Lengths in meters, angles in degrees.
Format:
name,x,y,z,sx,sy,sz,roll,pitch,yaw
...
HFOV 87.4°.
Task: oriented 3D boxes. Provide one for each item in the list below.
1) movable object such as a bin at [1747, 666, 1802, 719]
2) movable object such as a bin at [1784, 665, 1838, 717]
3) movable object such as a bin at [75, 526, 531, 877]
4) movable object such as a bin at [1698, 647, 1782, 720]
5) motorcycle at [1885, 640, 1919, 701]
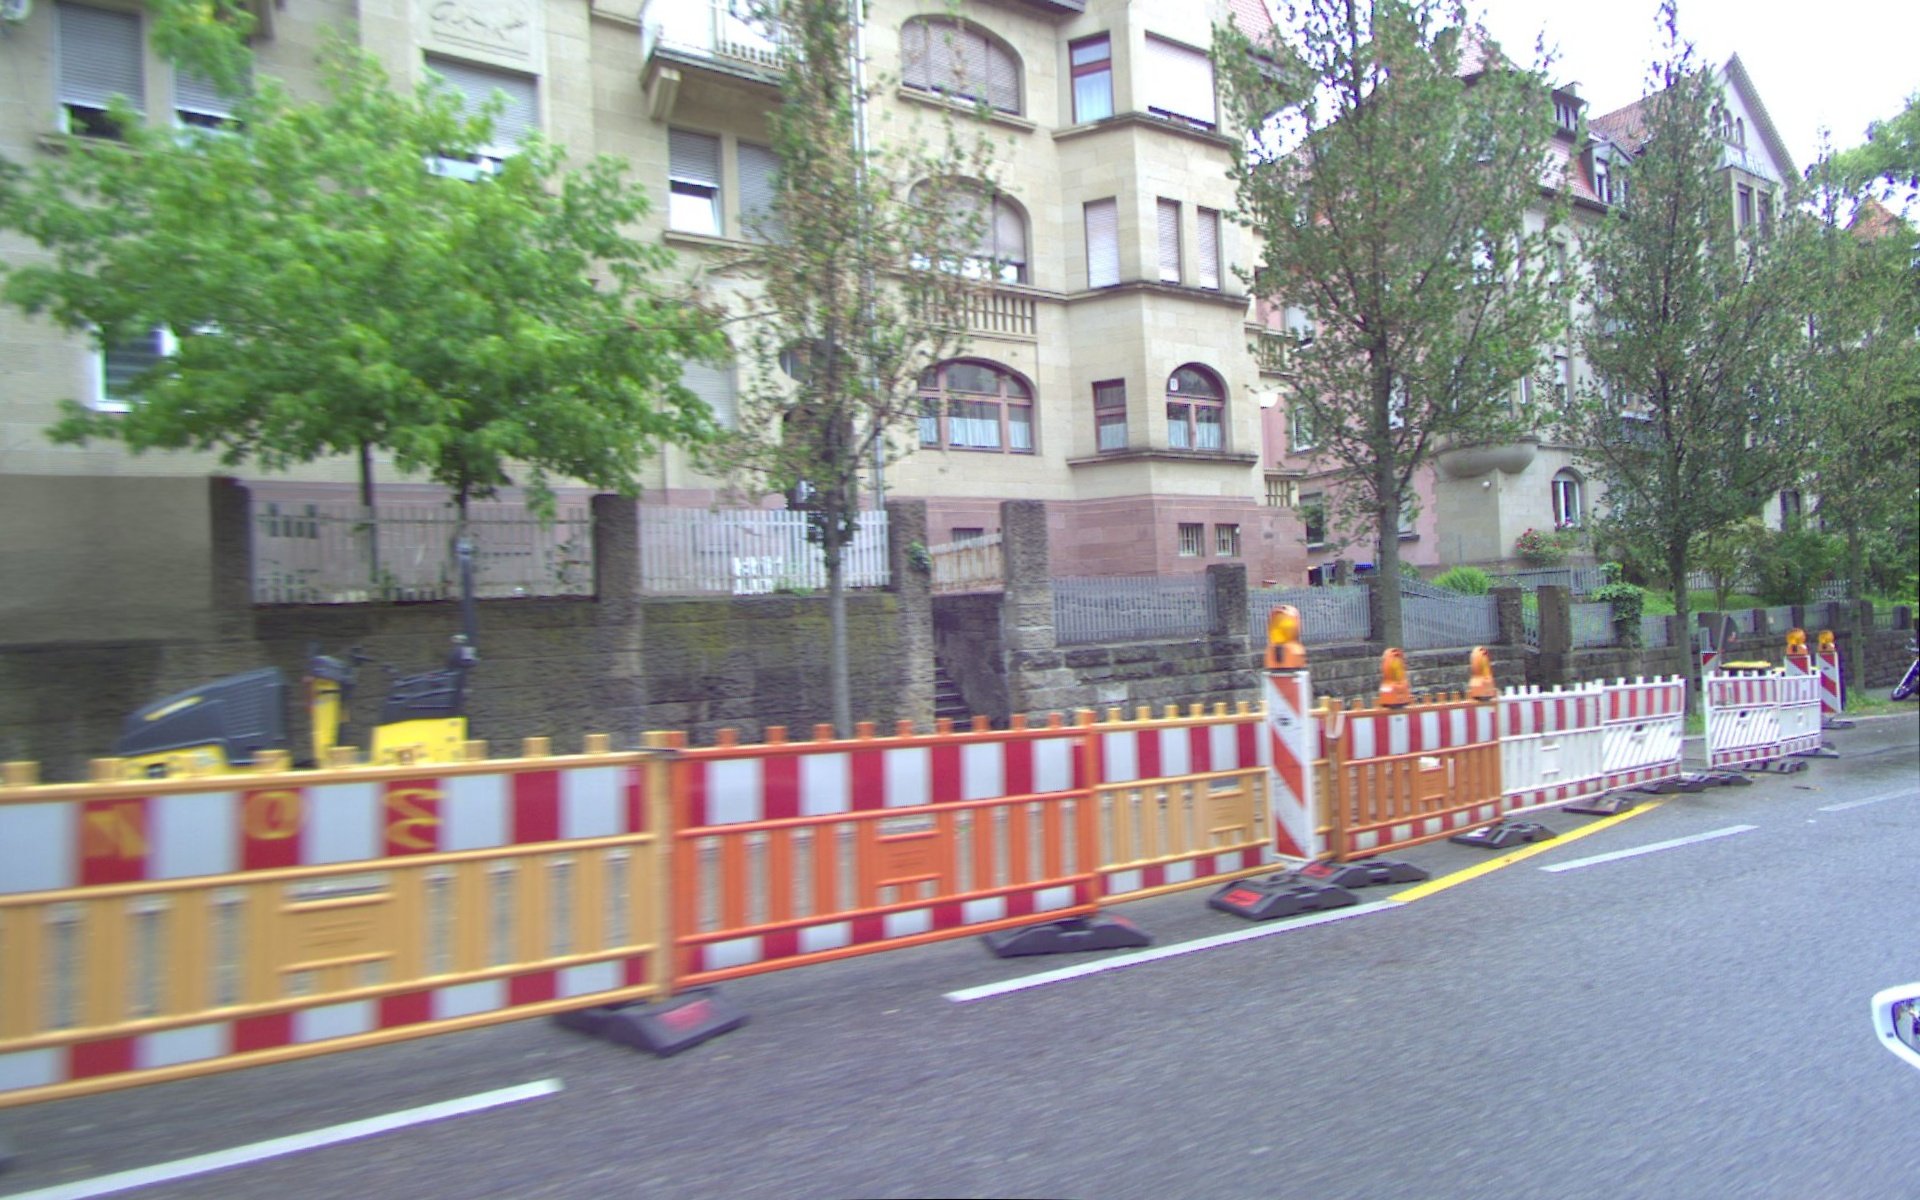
name,x,y,z,sx,sy,sz,roll,pitch,yaw
movable object such as a bin,15.049,1.702,18.565,0.616,0.920,0.601,0,0,-29
movable object such as a bin,16.269,1.724,19.209,0.616,0.920,0.601,0,0,-29
movable object such as a bin,-5.072,0.720,8.215,2.778,2.329,1.987,0,-2,-27
movable object such as a bin,14.136,1.498,18.217,0.845,1.230,0.941,0,0,-29
motorcycle,22.670,1.636,23.607,2.177,1.363,0.762,2,-1,-31
